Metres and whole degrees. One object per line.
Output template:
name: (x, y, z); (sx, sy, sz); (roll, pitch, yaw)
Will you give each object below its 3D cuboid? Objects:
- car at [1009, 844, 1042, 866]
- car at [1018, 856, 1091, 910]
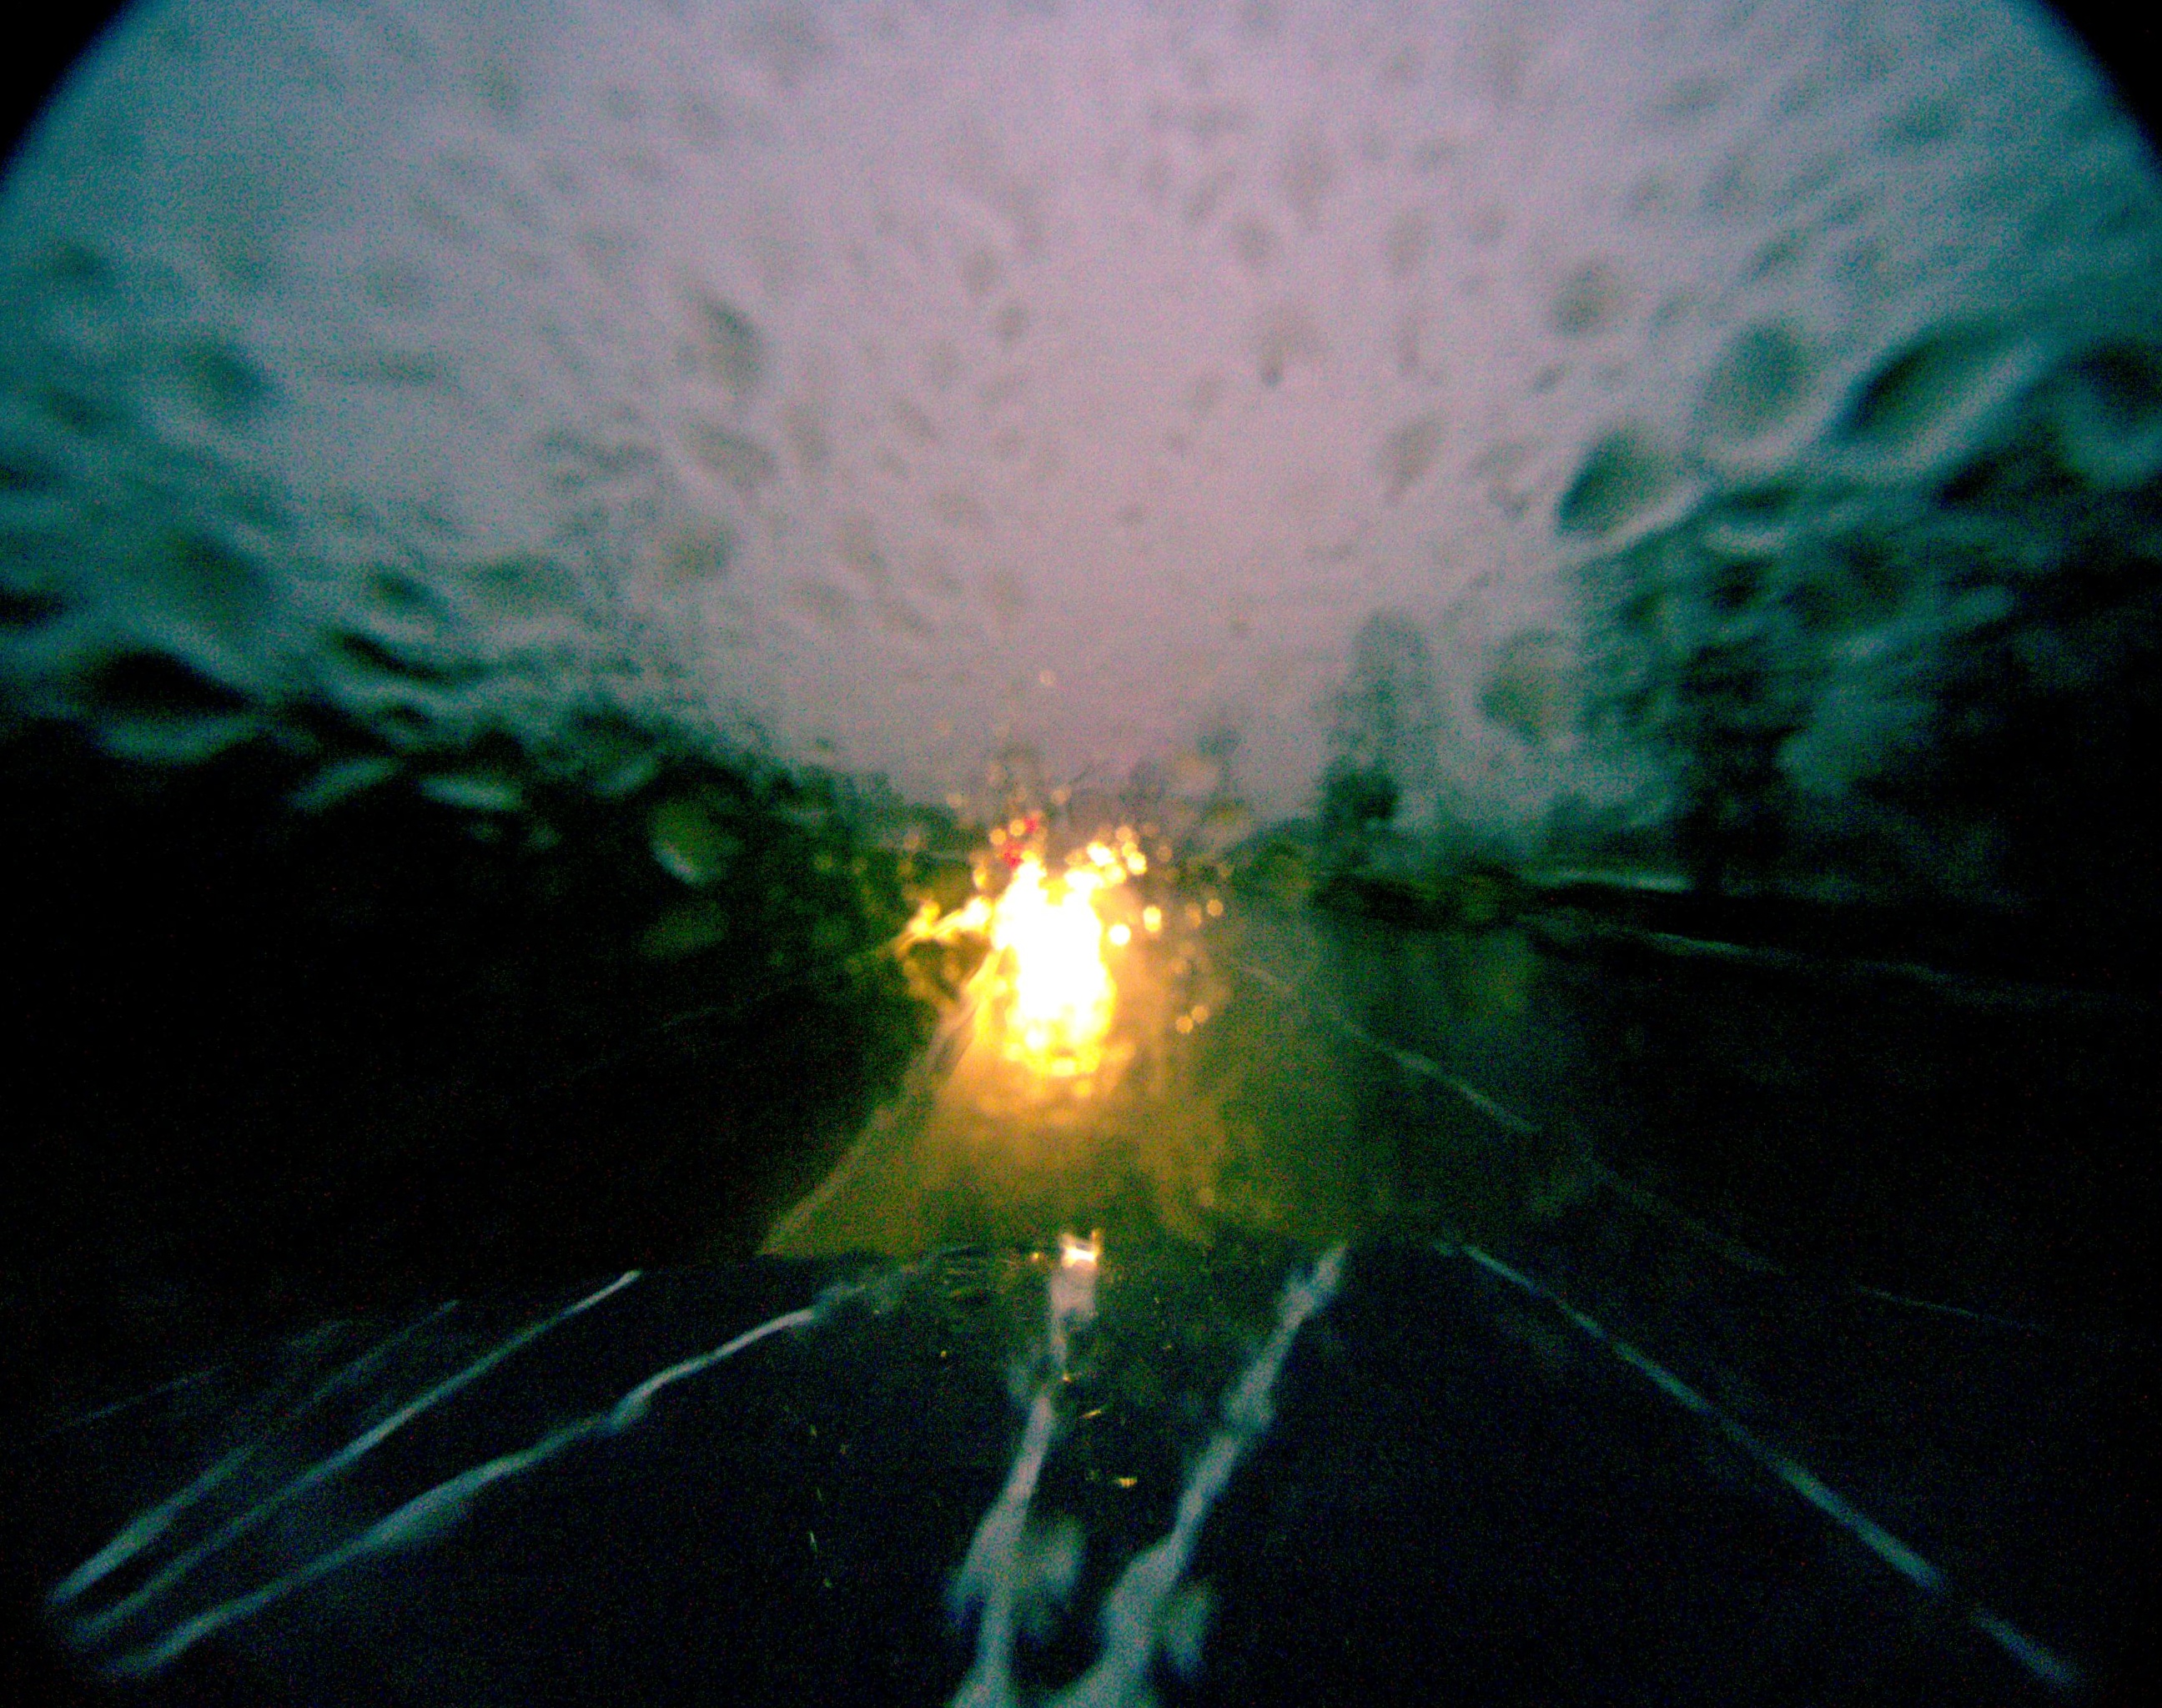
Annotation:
car: (-4.915, 0.072, 66.691); (2.000, 1.612, 4.591); (-5, 2, -13)
car: (-1.011, 0.894, 25.814); (2.103, 1.566, 4.796); (-1, 1, -6)
